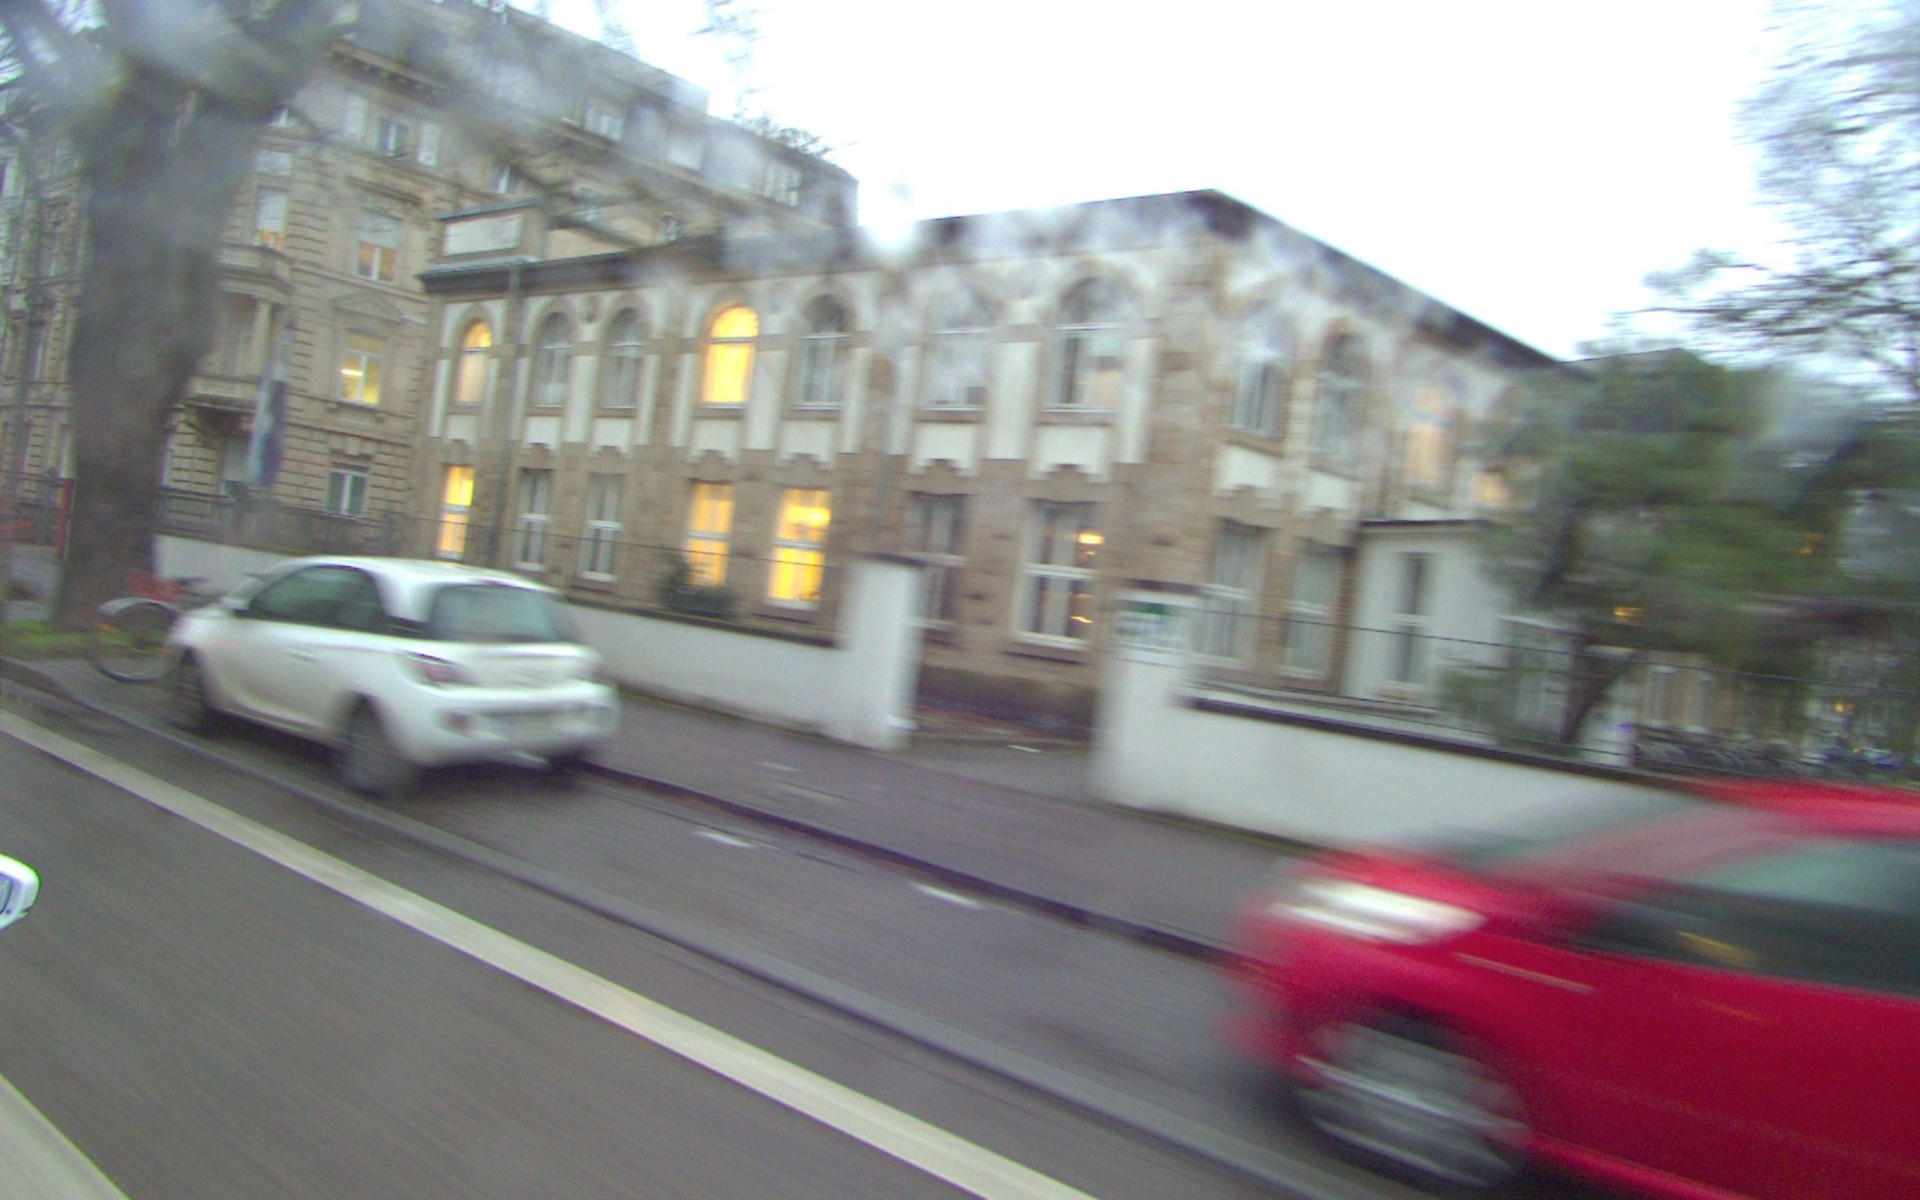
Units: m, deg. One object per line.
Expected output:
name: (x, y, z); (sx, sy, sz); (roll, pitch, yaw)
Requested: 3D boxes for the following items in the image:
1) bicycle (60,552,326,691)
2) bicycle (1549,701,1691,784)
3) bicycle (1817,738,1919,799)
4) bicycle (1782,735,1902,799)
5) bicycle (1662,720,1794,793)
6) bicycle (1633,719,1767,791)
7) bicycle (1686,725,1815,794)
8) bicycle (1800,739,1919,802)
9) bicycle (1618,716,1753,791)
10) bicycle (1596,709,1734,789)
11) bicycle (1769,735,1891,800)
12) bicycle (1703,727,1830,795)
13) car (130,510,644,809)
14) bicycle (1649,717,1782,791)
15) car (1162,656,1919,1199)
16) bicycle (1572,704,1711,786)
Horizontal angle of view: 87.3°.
bicycle: (-6.877, 0.236, 9.115); (0.652, 1.084, 1.716); (8, 0, 31)
bicycle: (12.564, 2.699, 19.235); (0.567, 1.171, 2.126); (7, 0, -28)
bicycle: (24.036, 4.414, 26.434); (0.567, 1.171, 2.126); (7, 0, -28)
bicycle: (22.334, 4.215, 25.524); (0.567, 1.171, 2.126); (7, 0, -28)
bicycle: (16.702, 3.381, 21.937); (0.567, 1.171, 2.126); (7, 0, -28)
bicycle: (15.614, 3.261, 21.306); (0.567, 1.030, 2.125); (7, 2, -28)
bicycle: (17.714, 3.566, 22.615); (0.567, 1.105, 2.126); (7, 0, -28)
bicycle: (23.183, 4.374, 25.968); (0.567, 1.171, 2.126); (7, 0, -28)
bicycle: (15.069, 3.173, 20.971); (0.567, 1.064, 2.125); (7, 2, -28)
bicycle: (14.065, 2.956, 20.154); (0.567, 1.171, 2.126); (7, 0, -28)
bicycle: (21.602, 4.137, 25.037); (0.567, 1.171, 2.126); (7, 0, -28)
bicycle: (18.470, 3.666, 23.102); (0.567, 1.124, 2.126); (7, 0, -28)
car: (-4.386, 0.341, 7.623); (3.575, 1.538, 1.695); (8, 0, 30)
bicycle: (16.183, 3.285, 21.622); (0.567, 1.171, 2.126); (7, 0, -28)
car: (2.719, 1.248, 3.402); (3.510, 1.541, 1.647); (8, -1, 29)
bicycle: (13.284, 2.806, 19.688); (0.567, 1.171, 2.126); (7, 0, -28)
